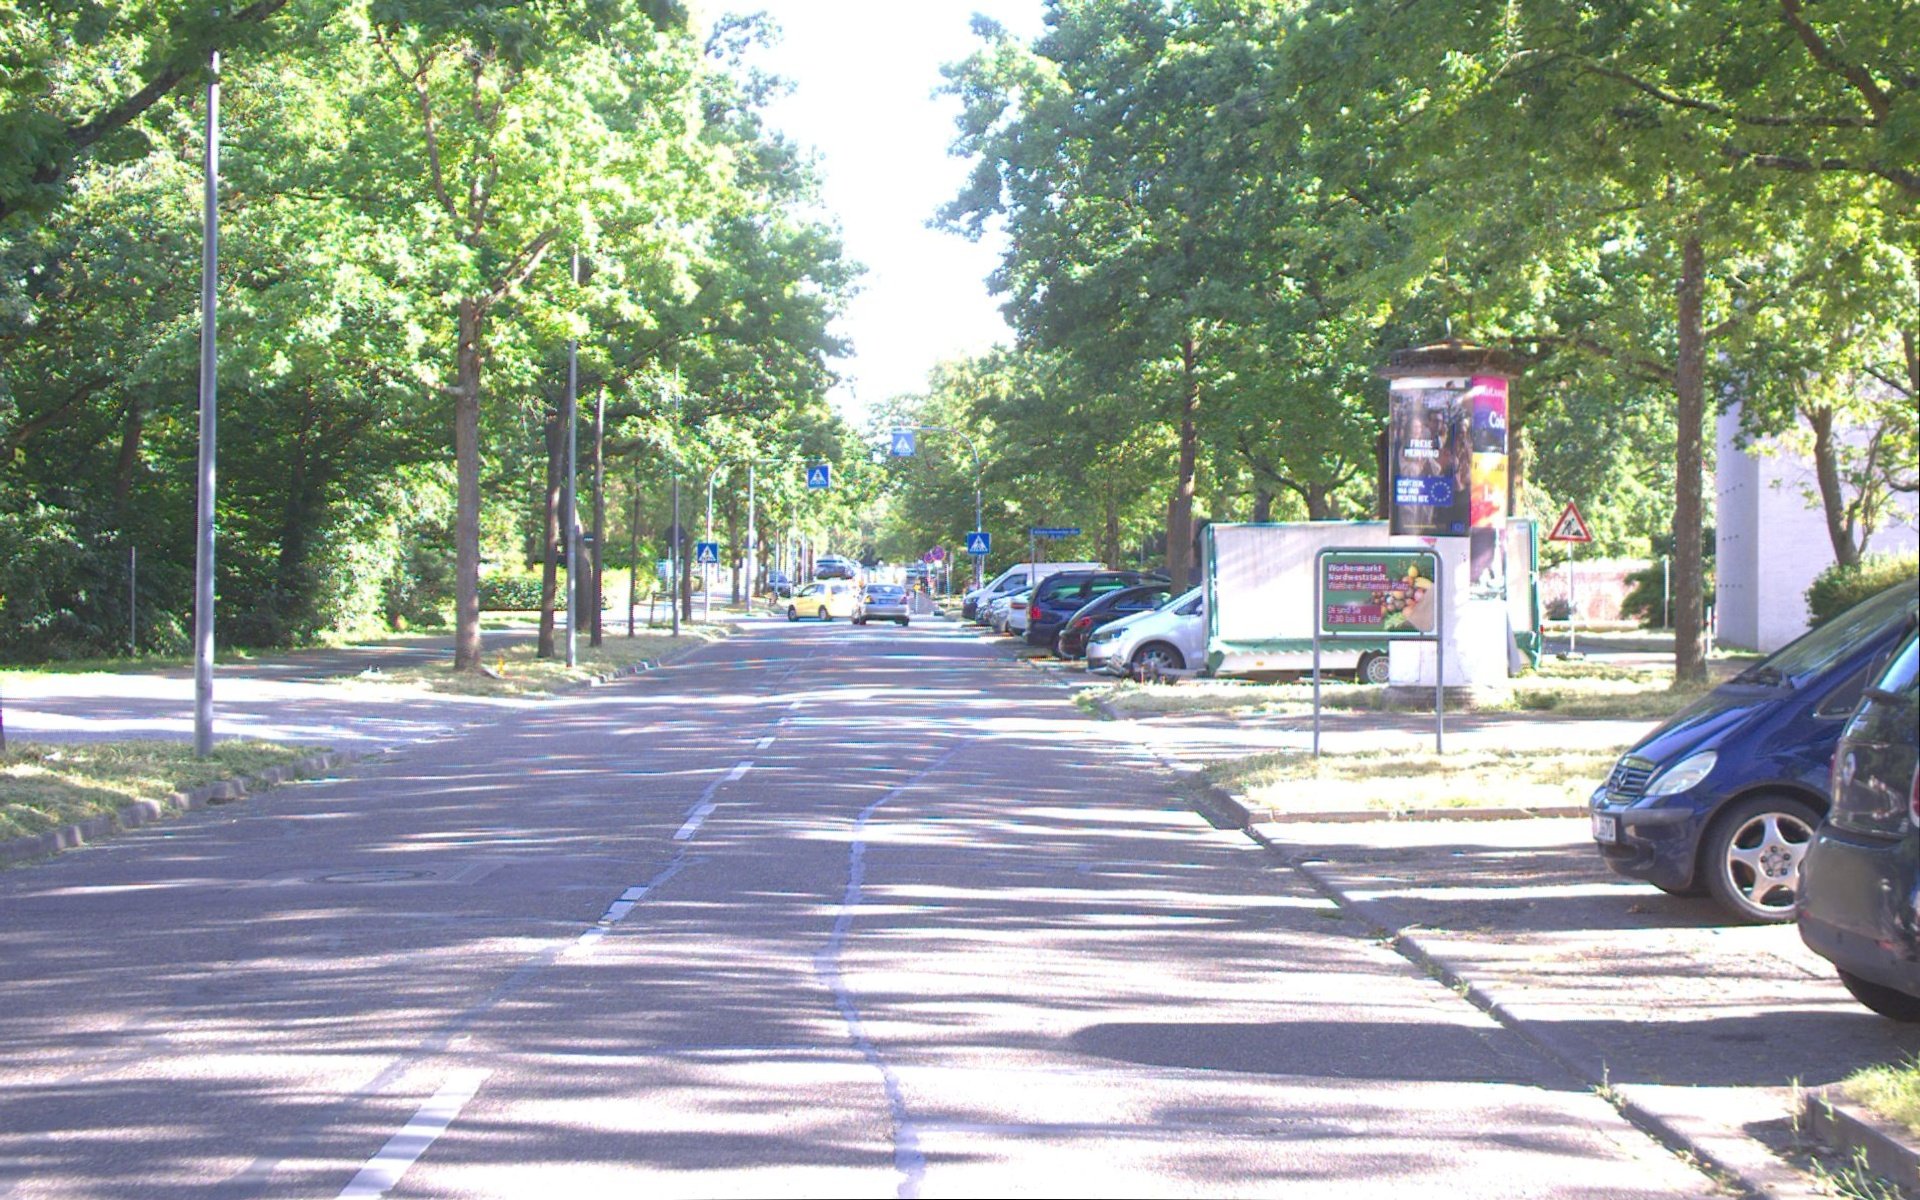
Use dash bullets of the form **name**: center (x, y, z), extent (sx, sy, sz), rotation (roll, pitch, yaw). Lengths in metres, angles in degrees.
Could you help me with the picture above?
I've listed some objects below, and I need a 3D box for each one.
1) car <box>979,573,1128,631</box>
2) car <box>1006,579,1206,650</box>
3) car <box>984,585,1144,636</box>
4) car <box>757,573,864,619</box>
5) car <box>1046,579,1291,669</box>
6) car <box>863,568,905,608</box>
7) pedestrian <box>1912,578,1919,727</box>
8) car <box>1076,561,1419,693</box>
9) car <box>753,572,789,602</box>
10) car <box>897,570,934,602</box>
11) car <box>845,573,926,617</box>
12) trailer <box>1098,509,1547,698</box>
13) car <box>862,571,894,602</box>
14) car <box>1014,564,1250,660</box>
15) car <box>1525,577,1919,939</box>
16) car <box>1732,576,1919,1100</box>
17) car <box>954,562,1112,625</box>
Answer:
- **car**: center (2.842, 0.060, 105.293), extent (4.384, 1.645, 1.851), rotation (-1, 0, -3)
- **car**: center (3.486, 0.344, 82.480), extent (4.670, 1.575, 1.917), rotation (-1, 0, 0)
- **car**: center (2.940, 0.283, 97.688), extent (4.445, 1.385, 1.911), rotation (-1, 0, -1)
- **car**: center (-5.477, -0.147, 125.639), extent (1.994, 1.650, 3.999), rotation (0, 0, -37)
- **car**: center (3.692, 0.409, 61.500), extent (4.245, 1.514, 2.078), rotation (-1, 0, 0)
- **car**: center (-3.804, -0.609, 171.402), extent (1.993, 1.926, 4.000), rotation (1, 0, -2)
- **pedestrian**: center (10.233, 0.514, 34.680), extent (0.884, 1.495, 0.941), rotation (-1, 1, 40)
- **car**: center (4.021, 0.366, 48.679), extent (4.642, 1.716, 1.987), rotation (-1, 0, 0)
- **car**: center (-10.889, -0.764, 198.300), extent (1.993, 1.711, 4.000), rotation (1, 0, -2)
- **car**: center (-2.511, -0.798, 192.308), extent (1.993, 1.711, 4.000), rotation (1, 0, -2)
- **car**: center (-2.573, -0.175, 117.629), extent (1.993, 1.479, 4.001), rotation (0, 0, -13)
- **trailer**: center (4.776, 0.043, 45.860), extent (5.775, 2.310, 1.686), rotation (-2, 0, 1)
- **car**: center (-5.326, -0.858, 221.841), extent (1.993, 1.962, 4.000), rotation (1, 0, -2)
- **car**: center (3.383, 0.233, 68.204), extent (4.529, 1.795, 1.936), rotation (-1, 0, -1)
- **car**: center (4.647, 0.677, 16.217), extent (3.583, 1.571, 1.857), rotation (-1, 0, -2)
- **car**: center (4.524, 0.677, 11.217), extent (3.583, 1.571, 1.786), rotation (-1, 0, 1)
- **car**: center (2.443, -0.224, 115.598), extent (5.186, 2.098, 2.083), rotation (0, 0, -2)
